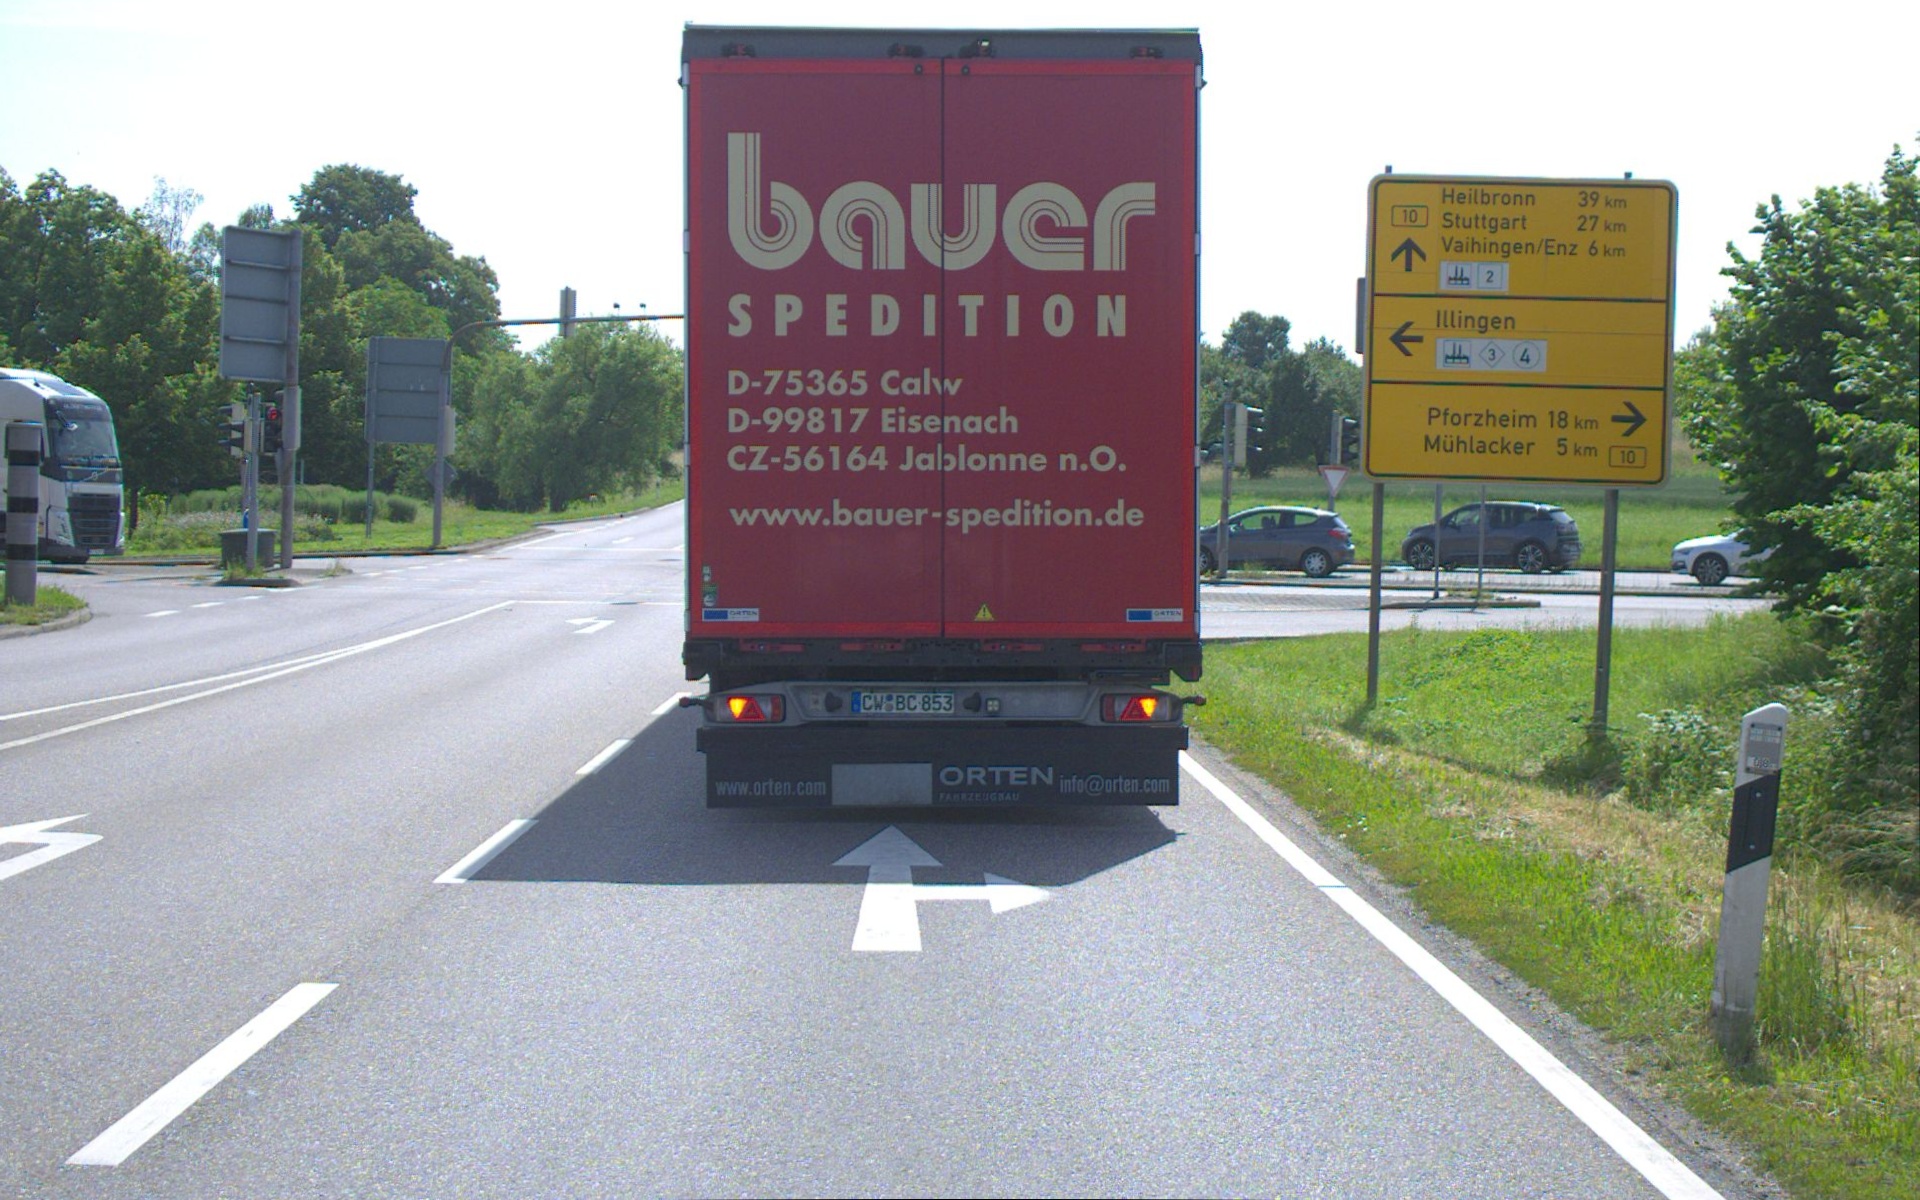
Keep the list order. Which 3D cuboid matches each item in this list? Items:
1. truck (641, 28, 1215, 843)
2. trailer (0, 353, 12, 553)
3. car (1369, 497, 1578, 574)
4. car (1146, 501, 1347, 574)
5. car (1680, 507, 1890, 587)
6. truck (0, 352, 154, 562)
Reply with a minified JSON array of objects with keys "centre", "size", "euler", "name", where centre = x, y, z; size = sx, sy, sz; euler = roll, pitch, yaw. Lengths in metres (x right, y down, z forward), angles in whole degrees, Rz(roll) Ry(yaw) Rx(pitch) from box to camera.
[{"centre":[-0.361,-1.052,24.983],"size":[2.734,3.911,16.628],"euler":[1,2,-1],"name":"truck"},{"centre":[-26.365,-3.150,70.846],"size":[13.694,4.047,2.796],"euler":[2,2,16],"name":"trailer"},{"centre":[11.497,-1.445,77.081],"size":[4.281,1.650,1.697],"euler":[1,1,31],"name":"car"},{"centre":[6.087,-1.315,72.918],"size":[3.989,1.424,1.999],"euler":[2,1,13],"name":"car"},{"centre":[16.903,-1.078,70.420],"size":[4.102,1.542,1.872],"euler":[1,1,14],"name":"car"},{"centre":[-19.461,-2.901,68.839],"size":[5.830,4.047,2.796],"euler":[2,2,15],"name":"truck"}]
